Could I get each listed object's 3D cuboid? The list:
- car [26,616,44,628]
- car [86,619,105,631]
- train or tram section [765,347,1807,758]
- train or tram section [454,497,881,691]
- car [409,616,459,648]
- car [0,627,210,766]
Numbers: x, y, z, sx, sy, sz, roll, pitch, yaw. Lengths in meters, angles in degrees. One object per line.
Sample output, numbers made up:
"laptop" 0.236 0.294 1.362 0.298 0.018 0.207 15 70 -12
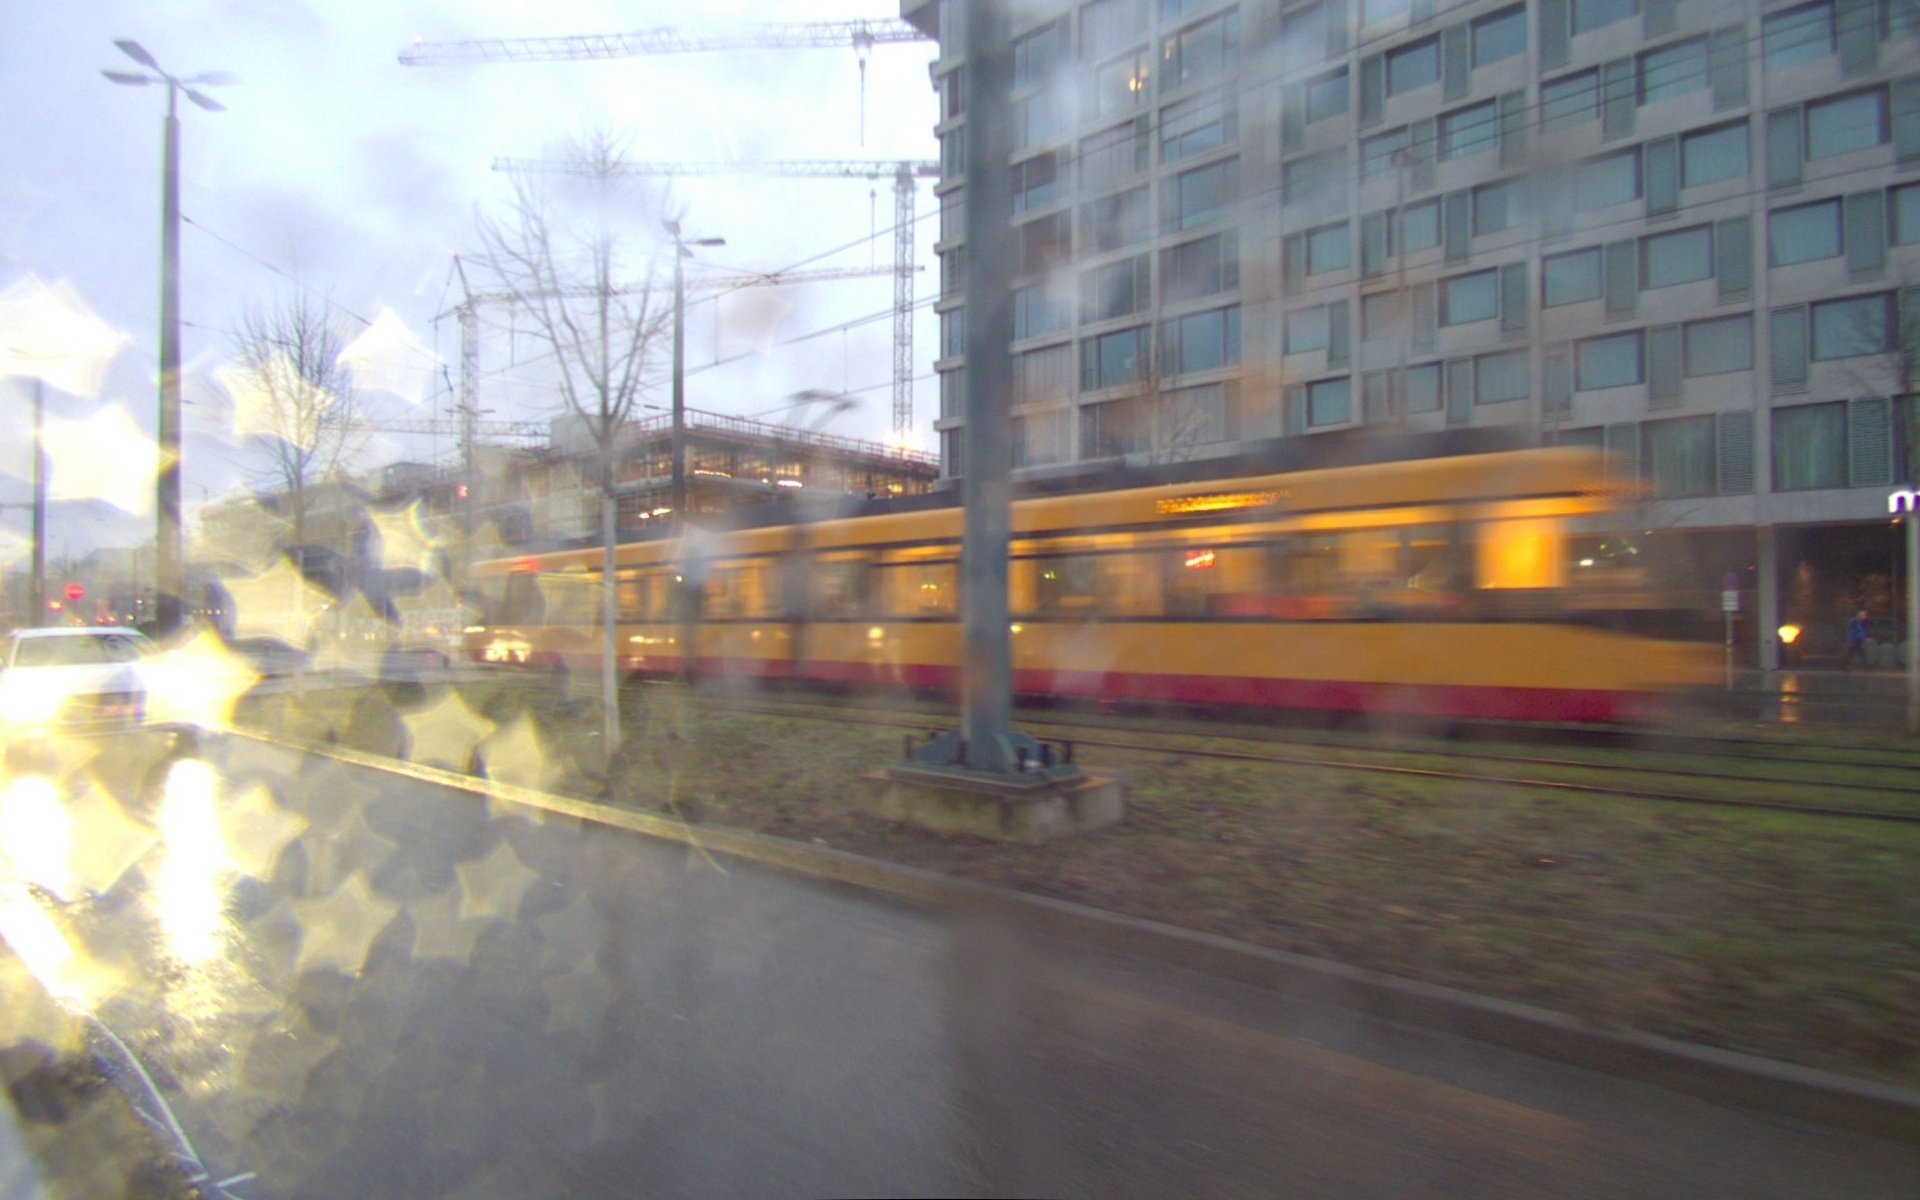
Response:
"car" -165.245 3.955 180.819 3.999 2.029 1.972 -2 -2 42
"car" -141.759 4.118 165.895 4.000 1.837 1.971 -2 -2 43
"train or tram section" 2.772 -0.248 14.510 14.261 3.513 2.925 -2 -2 42
"train or tram section" -7.814 0.050 24.277 14.318 3.513 2.925 -2 -2 43
"car" -34.530 2.098 66.365 1.969 2.029 4.005 1 -2 -42
"car" -11.350 1.086 12.999 4.612 1.416 1.827 -1 0 41
